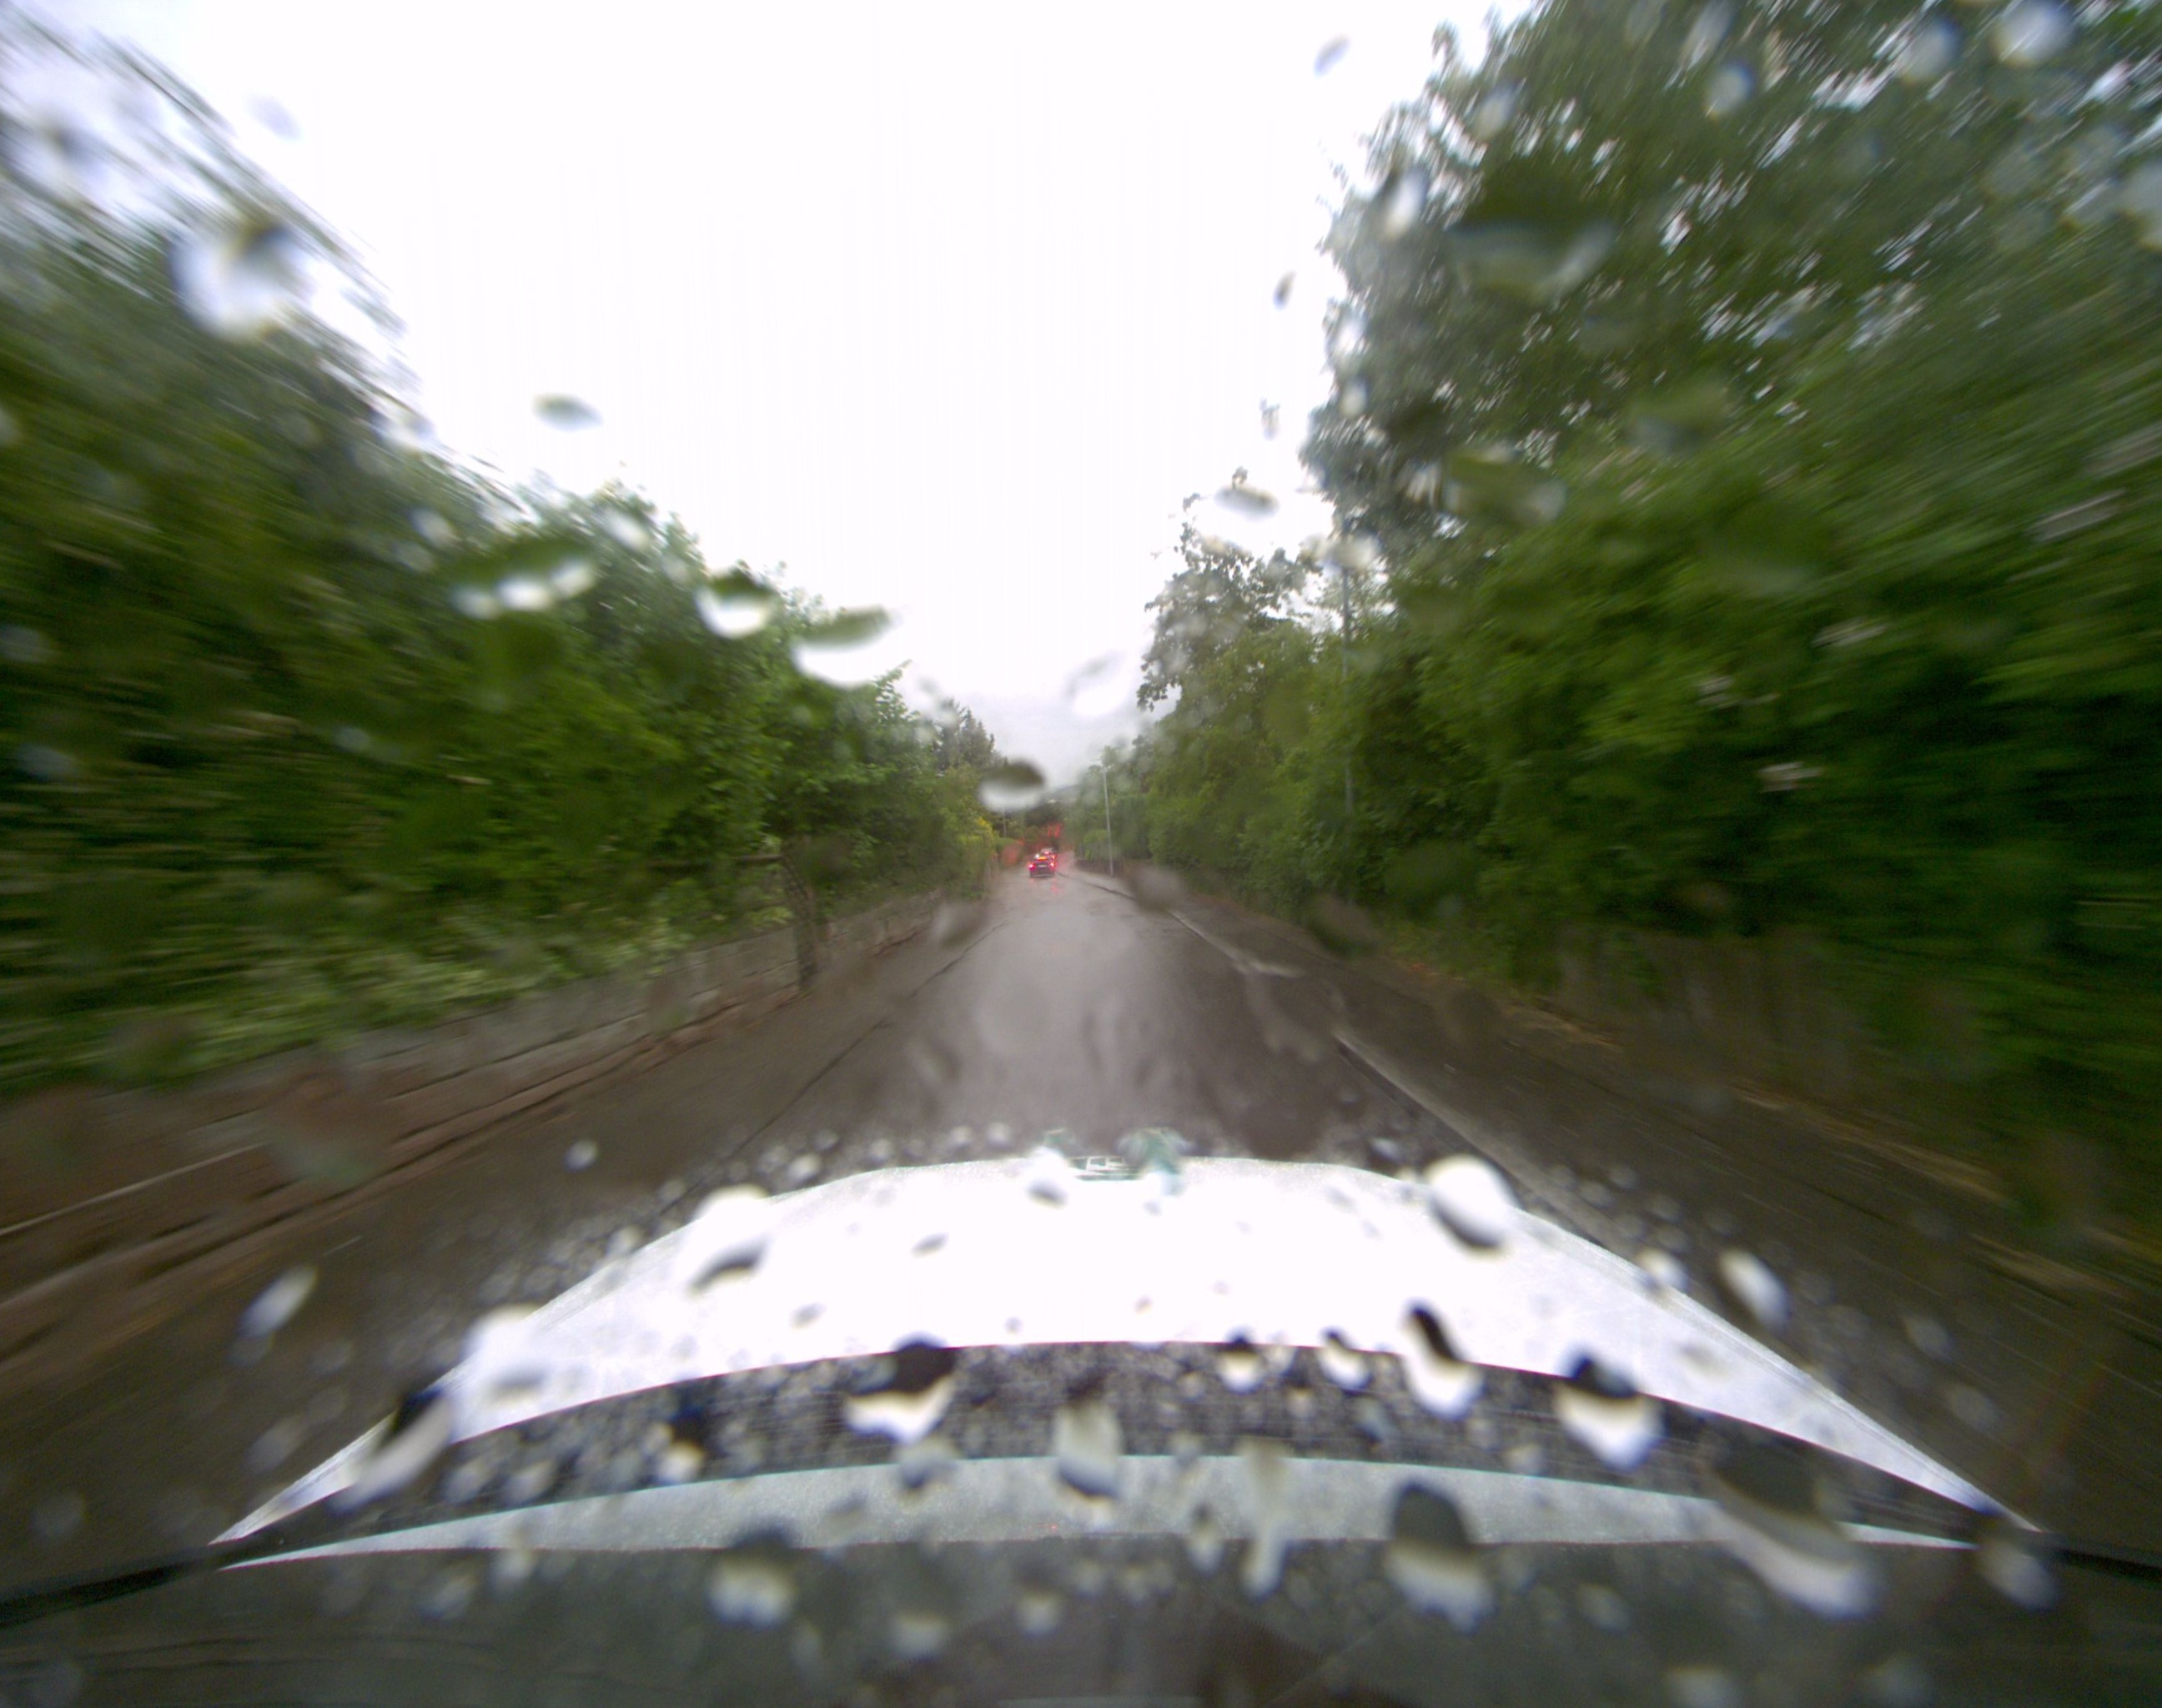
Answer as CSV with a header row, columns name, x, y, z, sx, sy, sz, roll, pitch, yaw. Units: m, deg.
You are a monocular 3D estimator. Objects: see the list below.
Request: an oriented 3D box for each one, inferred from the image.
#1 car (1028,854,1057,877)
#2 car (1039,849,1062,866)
name,x,y,z,sx,sy,sz,roll,pitch,yaw
car,-2.732,0.772,56.830,1.832,1.464,3.993,-1,0,-5
car,-3.217,0.340,86.148,1.669,1.565,3.803,-2,2,8
